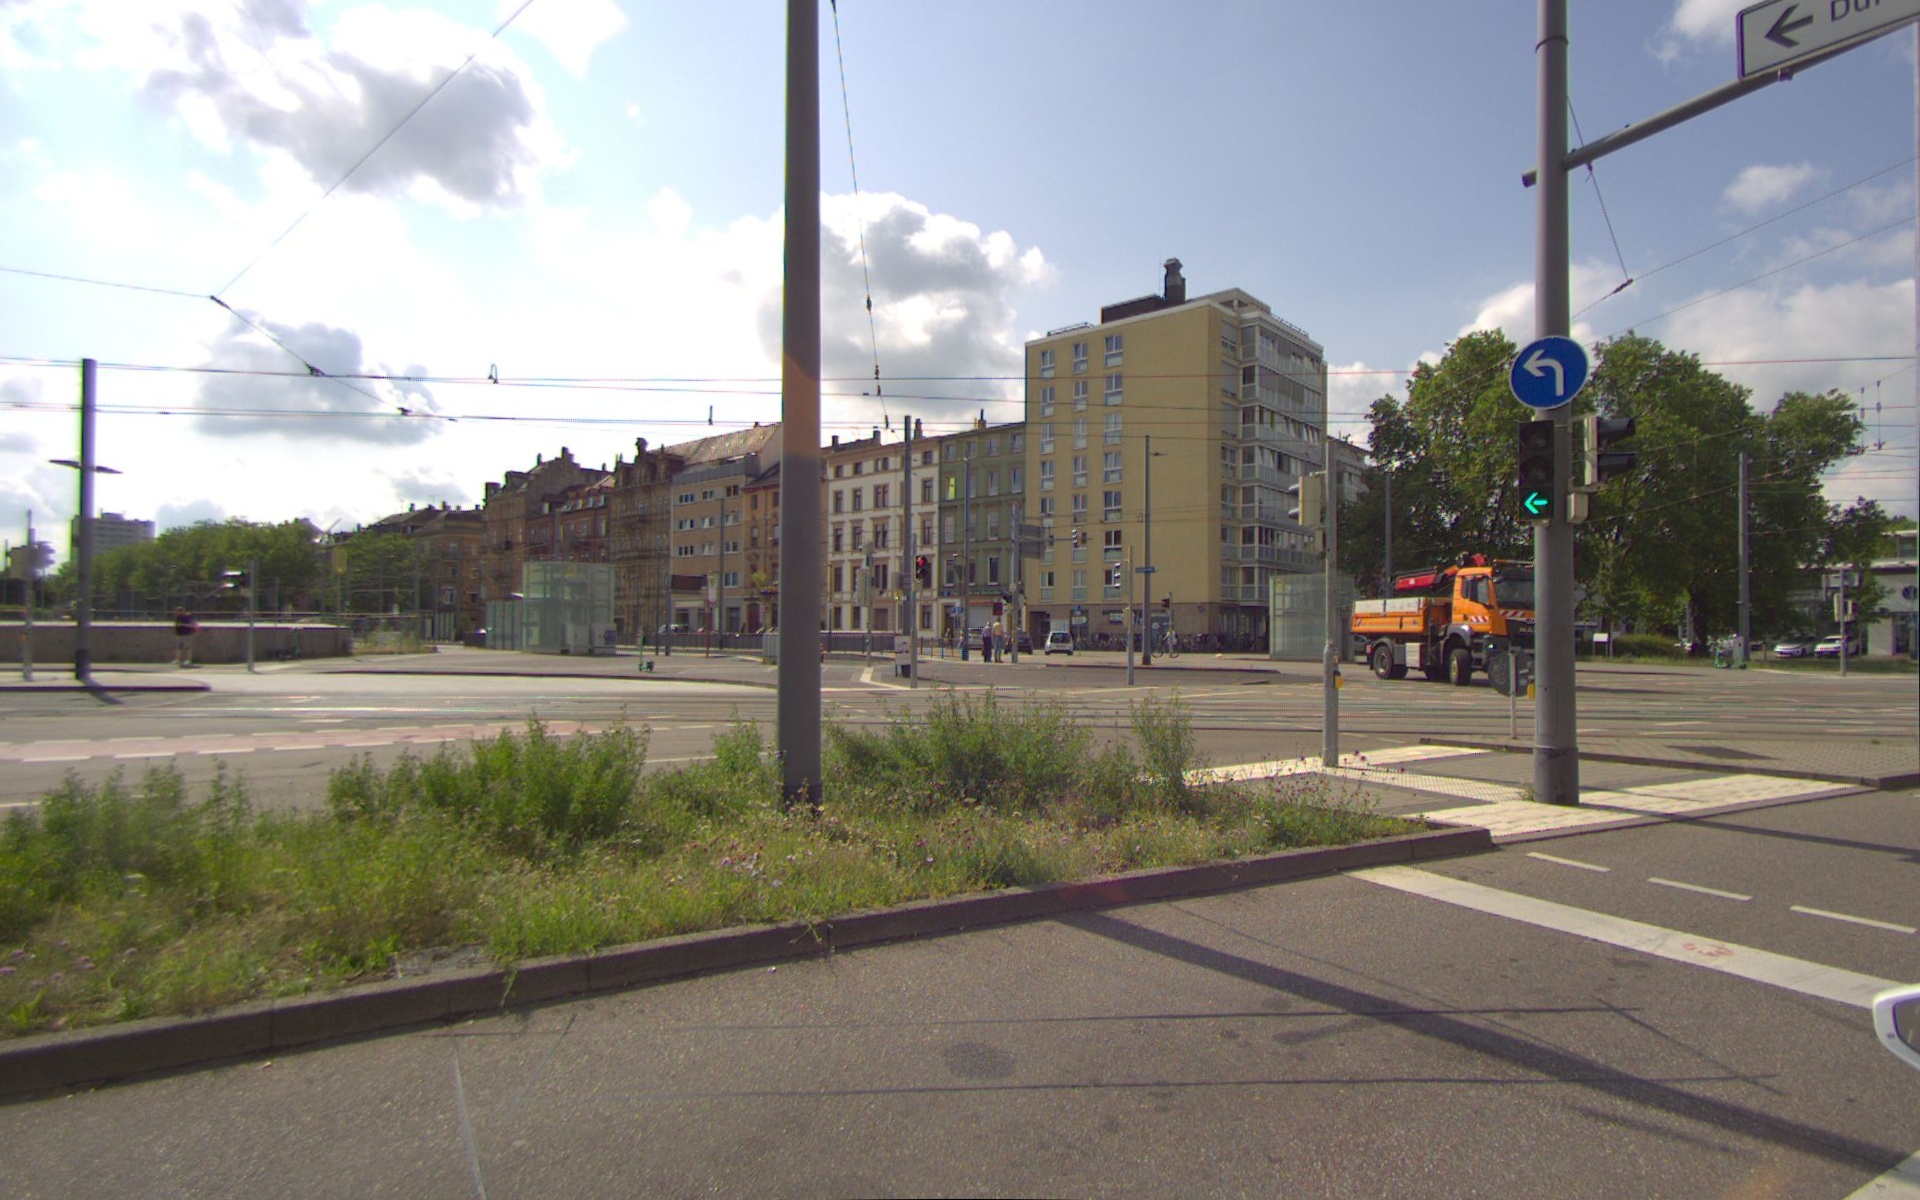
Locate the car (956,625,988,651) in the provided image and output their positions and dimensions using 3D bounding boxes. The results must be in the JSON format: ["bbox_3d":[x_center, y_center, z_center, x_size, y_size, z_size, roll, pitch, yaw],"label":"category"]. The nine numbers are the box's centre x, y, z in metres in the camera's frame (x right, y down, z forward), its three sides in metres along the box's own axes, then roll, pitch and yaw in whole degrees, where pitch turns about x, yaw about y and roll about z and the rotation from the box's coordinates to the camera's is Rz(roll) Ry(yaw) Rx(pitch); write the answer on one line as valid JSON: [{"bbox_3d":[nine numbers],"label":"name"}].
[{"bbox_3d":[0.785,2.503,66.575,2.021,1.669,4.597,1,-2,0],"label":"car"}]

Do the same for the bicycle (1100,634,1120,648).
[{"bbox_3d":[10.504,2.876,70.325,1.443,0.935,0.291,2,0,43],"label":"bicycle"}]

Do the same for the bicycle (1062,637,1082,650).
[{"bbox_3d":[7.997,3.099,71.786,1.442,0.935,0.292,0,-1,40],"label":"bicycle"}]

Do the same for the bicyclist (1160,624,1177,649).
[{"bbox_3d":[11.464,1.996,55.167,0.773,1.354,0.393,2,0,-23],"label":"bicyclist"}]

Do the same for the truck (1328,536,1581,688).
[{"bbox_3d":[14.992,0.353,31.397,2.786,4.062,8.057,2,0,-10],"label":"truck"}]

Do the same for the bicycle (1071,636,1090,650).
[{"bbox_3d":[8.651,3.076,72.237,1.442,0.935,0.292,0,-1,40],"label":"bicycle"}]

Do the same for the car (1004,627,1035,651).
[{"bbox_3d":[3.786,2.506,64.139,1.900,1.479,4.602,1,-2,3],"label":"car"}]

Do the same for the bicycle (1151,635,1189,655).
[{"bbox_3d":[11.535,2.472,55.188,2.069,1.121,0.541,1,-1,-22],"label":"bicycle"}]

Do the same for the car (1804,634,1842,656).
[{"bbox_3d":[69.932,3.637,81.402,3.968,1.704,1.770,2,-2,-40],"label":"car"}]

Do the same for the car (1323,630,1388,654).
[{"bbox_3d":[29.281,3.084,74.415,4.035,1.534,1.800,2,-1,41],"label":"car"}]

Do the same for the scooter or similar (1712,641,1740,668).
[{"bbox_3d":[35.308,2.503,46.304,0.374,1.212,1.064,2,0,-5],"label":"scooter or similar"}]

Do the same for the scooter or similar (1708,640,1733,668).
[{"bbox_3d":[34.834,2.473,46.005,0.374,1.212,1.065,2,0,5],"label":"scooter or similar"}]

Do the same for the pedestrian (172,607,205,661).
[{"bbox_3d":[-26.178,1.162,34.093,0.552,1.818,0.720,1,-1,-5],"label":"pedestrian"}]

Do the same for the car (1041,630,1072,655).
[{"bbox_3d":[6.000,2.680,62.809,1.743,1.472,3.498,0,-3,2],"label":"car"}]

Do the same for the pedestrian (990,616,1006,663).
[{"bbox_3d":[1.692,1.759,44.855,0.568,2.040,0.426,0,-1,31],"label":"pedestrian"}]

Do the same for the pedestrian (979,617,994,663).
[{"bbox_3d":[1.191,1.806,45.373,0.506,2.040,0.502,0,-1,31],"label":"pedestrian"}]

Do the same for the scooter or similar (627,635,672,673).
[{"bbox_3d":[-9.852,1.699,31.829,1.148,1.182,0.811,-1,-2,33],"label":"scooter or similar"}]

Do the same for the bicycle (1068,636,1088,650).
[{"bbox_3d":[8.445,3.095,71.993,1.442,0.935,0.292,1,-1,40],"label":"bicycle"}]

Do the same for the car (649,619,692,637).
[{"bbox_3d":[-30.594,2.950,106.084,4.677,1.886,1.993,-2,-3,37],"label":"car"}]

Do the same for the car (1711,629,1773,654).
[{"bbox_3d":[71.368,3.762,91.738,1.974,2.040,3.973,2,0,-26],"label":"car"}]

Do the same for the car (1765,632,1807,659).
[{"bbox_3d":[68.493,3.767,83.280,3.968,2.040,1.976,3,0,-40],"label":"car"}]

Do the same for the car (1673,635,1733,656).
[{"bbox_3d":[61.799,3.802,83.549,1.654,1.508,3.651,1,1,-31],"label":"car"}]
